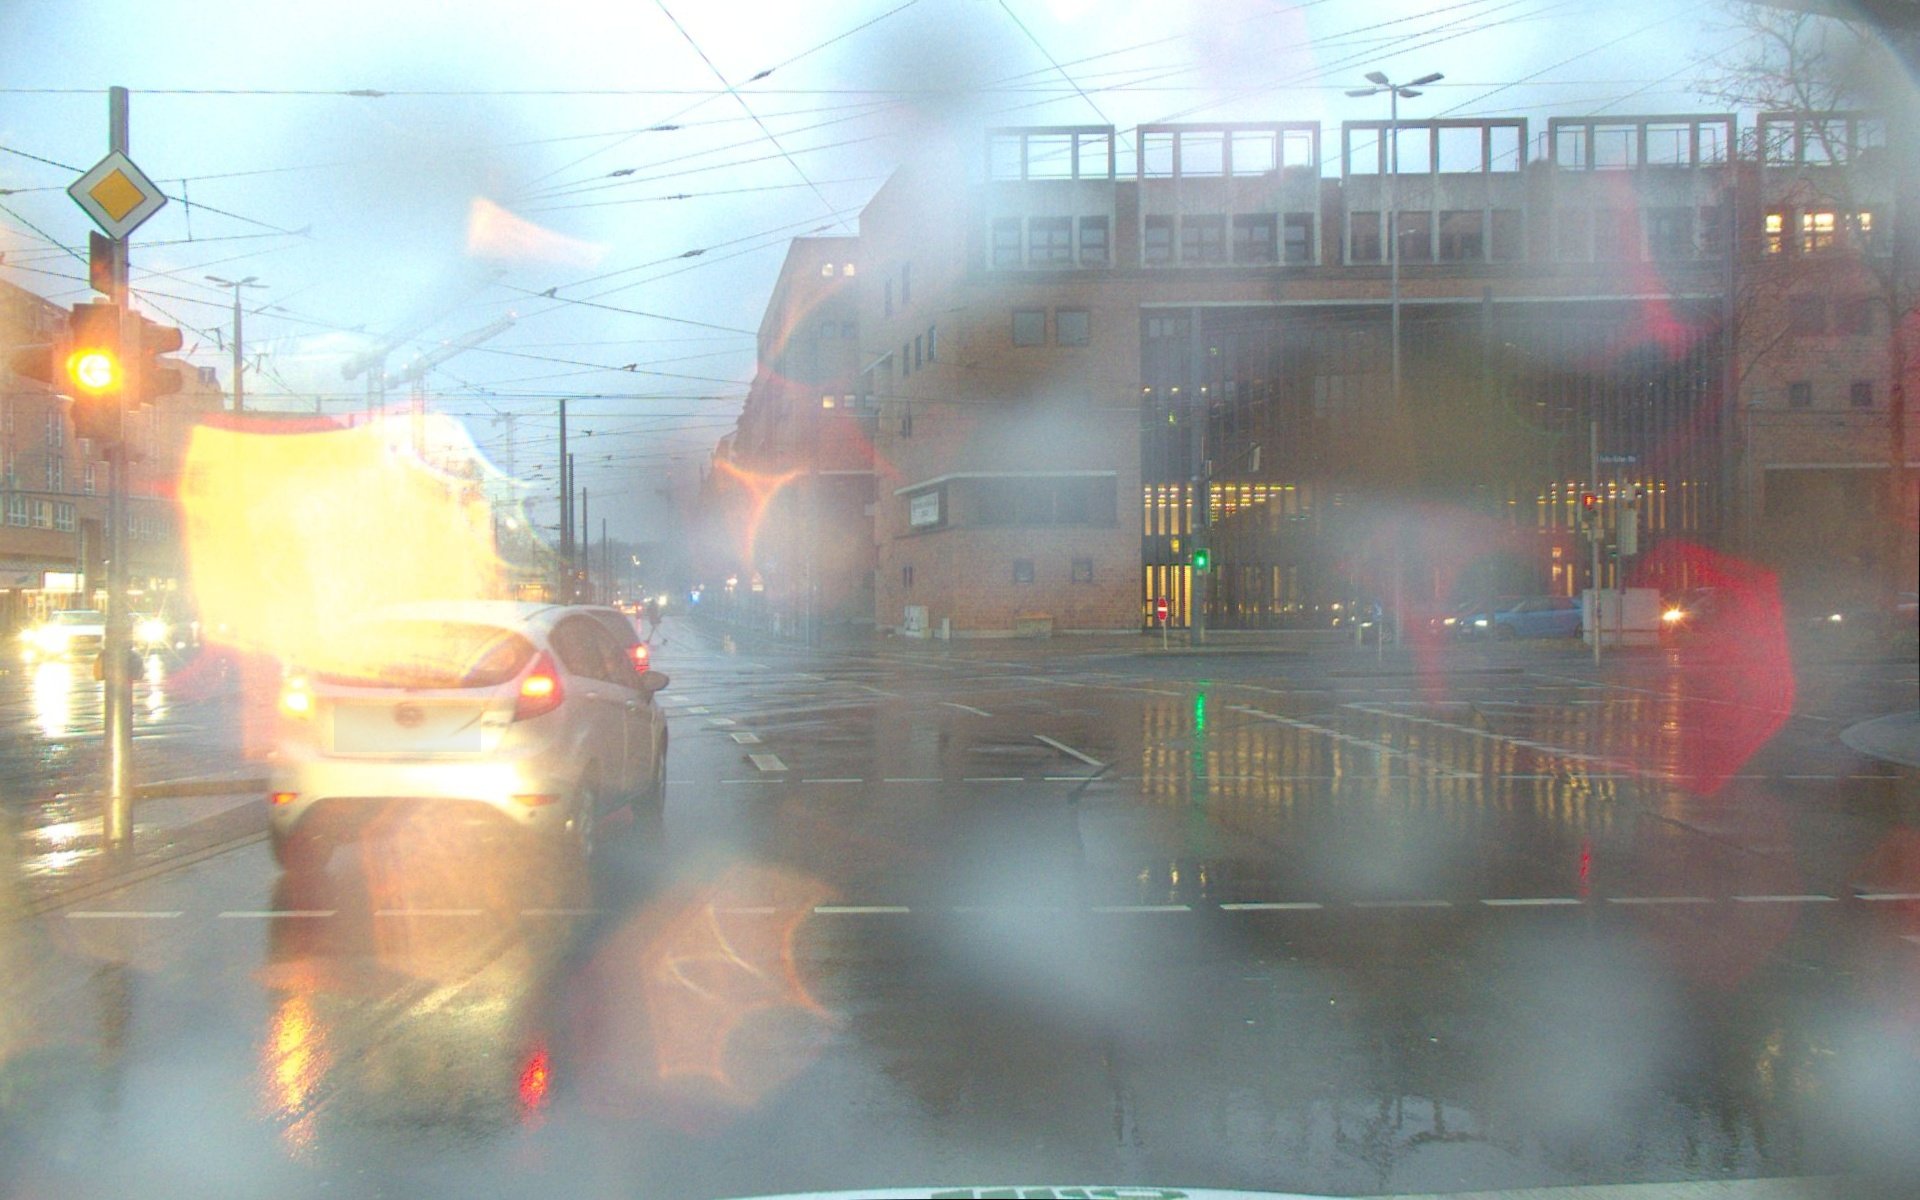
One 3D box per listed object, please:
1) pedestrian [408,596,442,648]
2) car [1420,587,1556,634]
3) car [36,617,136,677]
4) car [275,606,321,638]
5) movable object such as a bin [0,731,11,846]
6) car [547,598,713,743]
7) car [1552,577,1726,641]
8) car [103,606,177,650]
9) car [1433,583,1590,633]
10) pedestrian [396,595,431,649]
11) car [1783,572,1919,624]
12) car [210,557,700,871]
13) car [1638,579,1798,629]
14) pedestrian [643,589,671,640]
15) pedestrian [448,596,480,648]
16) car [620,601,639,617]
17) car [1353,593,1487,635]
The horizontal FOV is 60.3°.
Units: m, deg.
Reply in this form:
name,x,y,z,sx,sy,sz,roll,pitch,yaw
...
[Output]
name,x,y,z,sx,sy,sz,roll,pitch,yaw
pedestrian,-21.078,0.856,65.188,0.959,2.049,0.835,0,0,14
car,16.602,0.322,52.138,3.649,1.284,1.846,-1,4,-7
car,-25.690,1.340,48.756,2.015,1.588,4.802,-1,0,-21
car,-35.601,1.180,89.069,1.756,1.652,3.852,0,0,-14
movable object such as a bin,-6.268,1.188,10.249,0.403,0.711,0.537,-3,-1,29
car,-3.923,0.743,19.279,1.670,1.485,3.742,-1,0,-15
car,18.229,0.211,44.497,3.910,1.530,1.846,-1,4,-7
car,-31.991,1.078,64.612,1.756,1.652,3.852,0,0,-14
car,15.976,0.214,48.042,3.910,1.284,1.846,-1,4,-7
pedestrian,-21.157,0.846,64.033,0.959,2.049,0.835,0,0,14
car,29.332,-0.074,54.120,3.910,1.530,1.846,-1,4,-7
car,-2.791,0.625,10.097,1.670,1.473,4.000,-2,-2,1
car,22.347,0.098,48.847,3.910,1.310,1.846,-1,4,-7
pedestrian,-12.149,0.570,66.317,1.050,2.049,0.683,0,0,-14
pedestrian,-19.889,0.881,66.314,0.959,2.049,0.835,0,0,14
car,-35.270,0.960,176.384,1.837,1.606,3.990,2,0,-10
car,15.537,0.456,55.949,3.909,1.333,1.998,-1,0,-5
